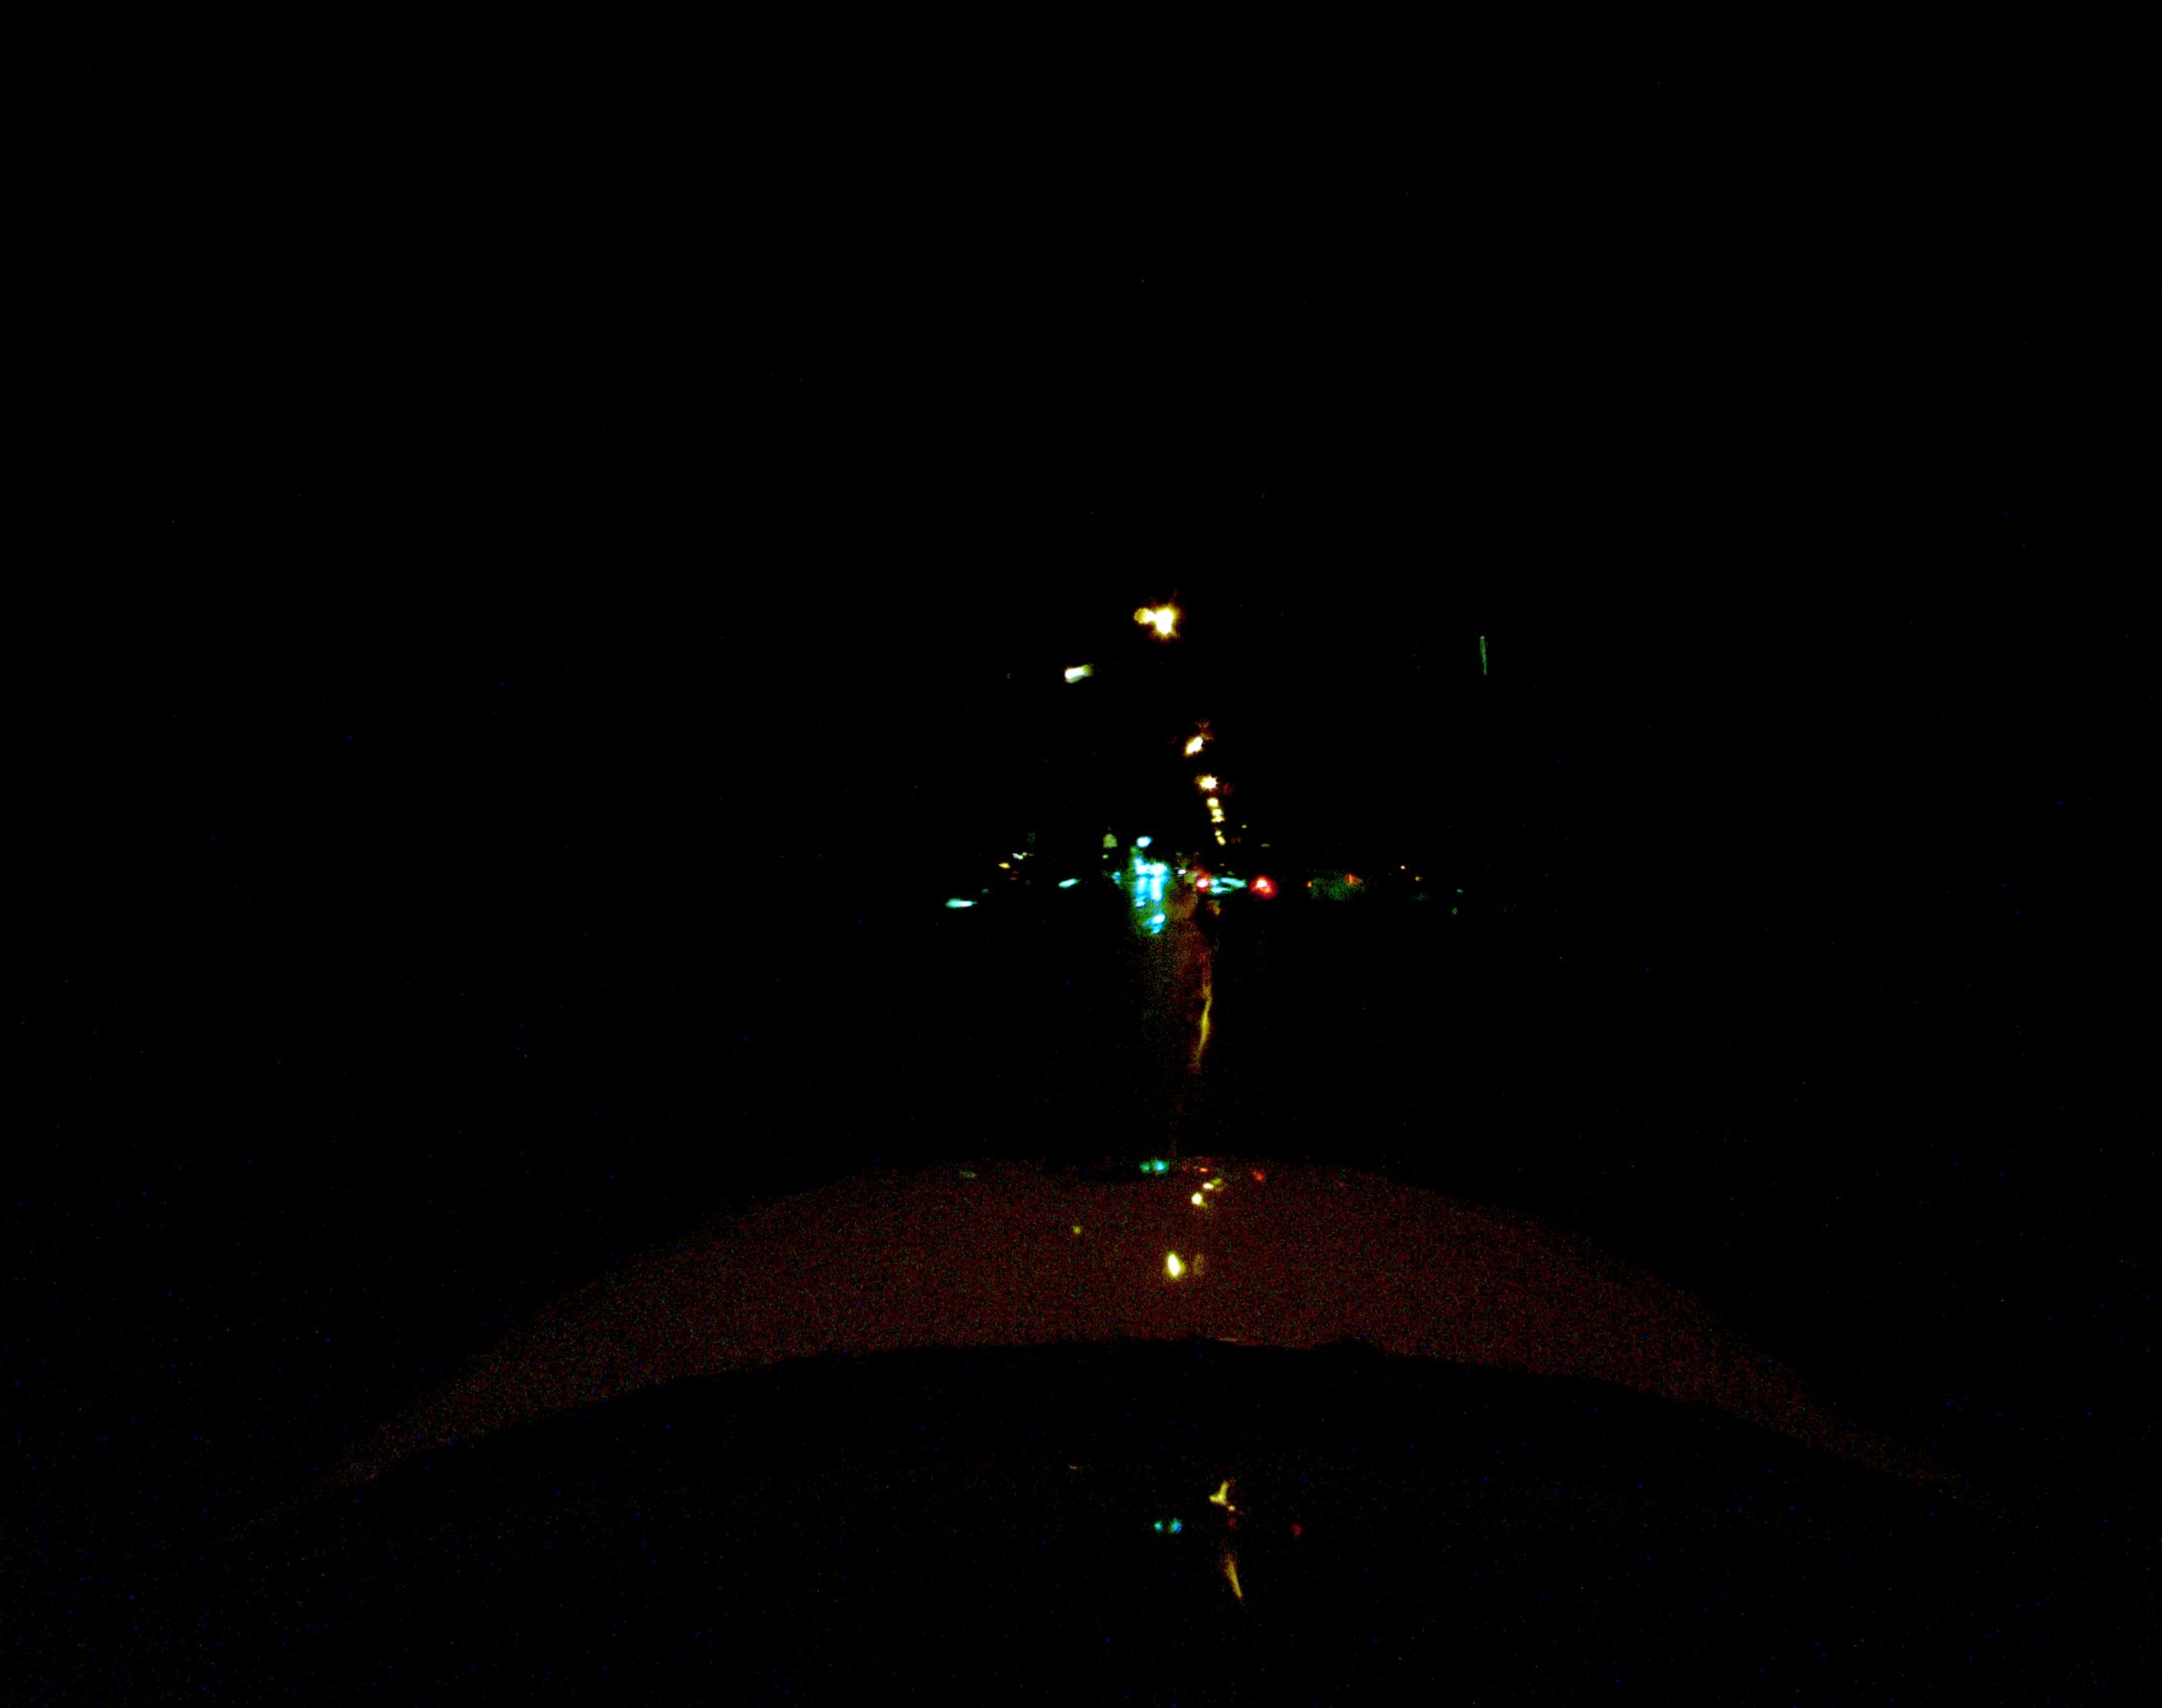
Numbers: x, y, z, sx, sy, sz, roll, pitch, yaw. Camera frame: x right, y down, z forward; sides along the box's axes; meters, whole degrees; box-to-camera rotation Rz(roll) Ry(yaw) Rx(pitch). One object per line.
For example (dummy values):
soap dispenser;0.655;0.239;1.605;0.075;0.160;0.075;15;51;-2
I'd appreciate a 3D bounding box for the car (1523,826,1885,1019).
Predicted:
car;6.299;0.559;8.207;3.405;1.561;1.580;-2;-1;-28

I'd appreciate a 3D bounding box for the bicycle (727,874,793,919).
bicycle;-8.935;1.189;22.660;1.946;1.180;0.545;-2;-1;28

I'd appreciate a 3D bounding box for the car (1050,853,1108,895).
car;-0.007;0.901;39.104;1.854;1.846;4.841;-2;-1;11

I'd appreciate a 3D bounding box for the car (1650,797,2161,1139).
car;6.145;0.534;5.576;3.804;1.689;1.823;-2;-1;-21

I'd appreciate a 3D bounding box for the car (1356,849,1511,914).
car;8.957;0.666;20.734;3.456;1.468;1.618;-1;-1;-21

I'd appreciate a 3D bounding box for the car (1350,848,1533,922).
car;8.138;0.654;18.405;3.732;1.468;1.602;-1;-1;-22

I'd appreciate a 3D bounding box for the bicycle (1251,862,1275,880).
bicycle;9.776;0.915;43.716;1.204;0.948;0.303;-2;-1;6

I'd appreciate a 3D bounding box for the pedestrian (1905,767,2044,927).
pedestrian;10.896;-0.094;9.969;0.741;1.840;0.845;-3;1;9

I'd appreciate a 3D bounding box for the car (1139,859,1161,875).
car;6.294;1.162;73.847;1.644;1.359;4.234;-1;-1;10

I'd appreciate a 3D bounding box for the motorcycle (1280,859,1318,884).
motorcycle;10.764;0.864;40.225;1.626;1.124;0.653;-4;-1;3

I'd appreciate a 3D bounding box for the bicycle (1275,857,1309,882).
bicycle;10.964;0.802;42.329;1.653;1.234;0.387;-3;-1;12

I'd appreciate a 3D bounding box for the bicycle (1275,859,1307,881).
bicycle;11.304;0.862;43.786;1.587;1.112;0.418;-3;-1;6

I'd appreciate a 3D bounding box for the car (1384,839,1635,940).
car;7.765;0.579;14.804;4.052;1.561;1.739;-2;-1;-20

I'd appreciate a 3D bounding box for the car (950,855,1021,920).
car;-2.869;0.895;23.717;1.812;1.670;4.396;-1;0;-10

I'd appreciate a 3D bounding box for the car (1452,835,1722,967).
car;7.133;0.576;11.472;3.518;1.561;1.581;-2;-1;-26

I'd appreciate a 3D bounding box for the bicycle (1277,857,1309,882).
bicycle;11.156;0.802;42.824;1.569;1.234;0.419;-3;-1;12

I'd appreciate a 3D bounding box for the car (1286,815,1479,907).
car;8.509;0.163;22.999;4.949;2.341;2.213;-2;-1;-25

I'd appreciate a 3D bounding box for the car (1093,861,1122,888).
car;1.588;1.180;48.116;1.540;1.443;3.566;1;0;4

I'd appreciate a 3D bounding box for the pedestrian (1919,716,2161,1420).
pedestrian;3.116;0.533;2.052;0.817;1.770;1.180;-2;-1;9

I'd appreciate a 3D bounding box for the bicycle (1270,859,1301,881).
bicycle;11.219;0.894;44.784;1.587;1.158;0.418;-2;-1;6

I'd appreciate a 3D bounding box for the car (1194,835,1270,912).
car;4.407;0.554;23.826;1.981;2.051;4.011;-1;-1;10
